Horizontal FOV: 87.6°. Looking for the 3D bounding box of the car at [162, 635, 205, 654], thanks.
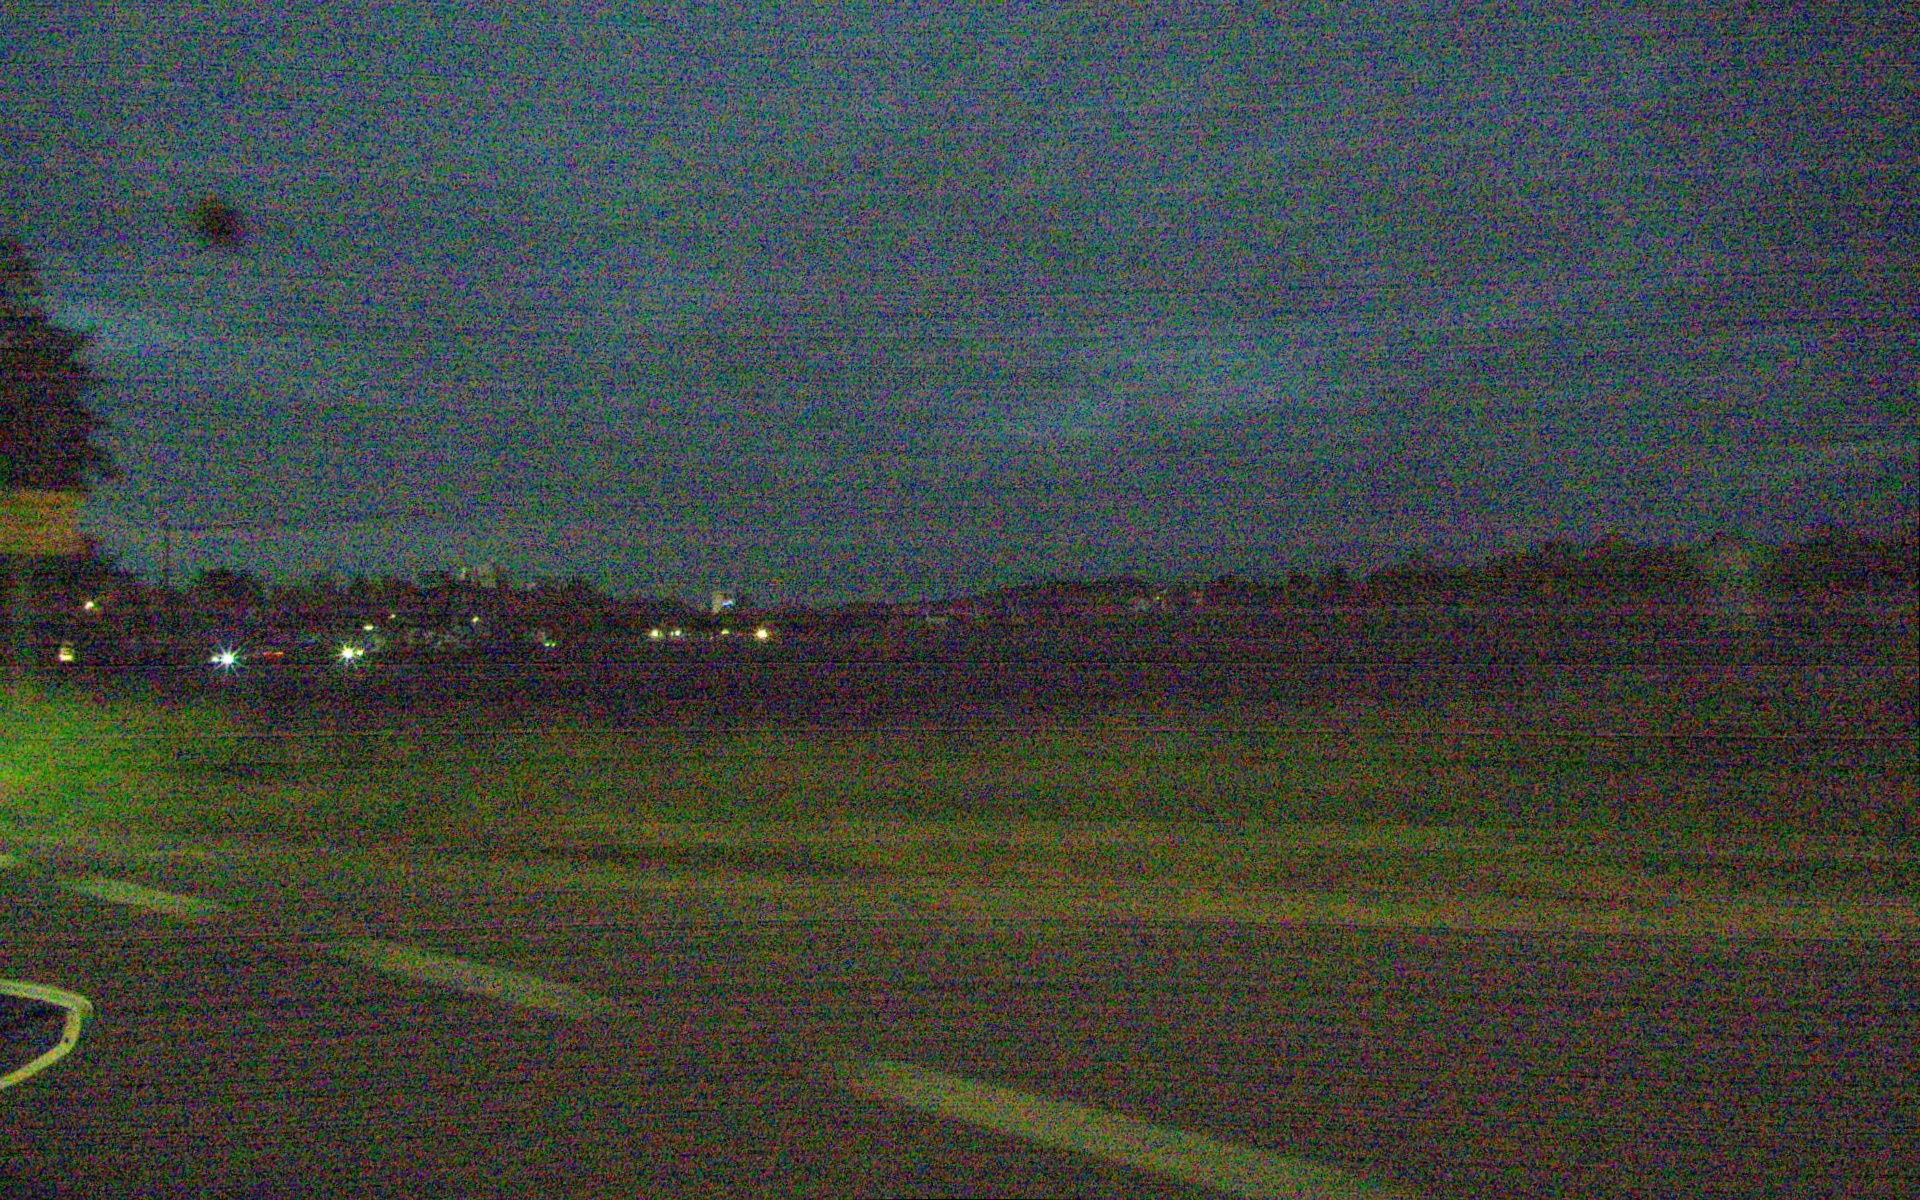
[{"bbox_3d":[-88.722,5.061,114.471,1.961,2.040,3.999,1,0,-5],"label":"car"}]
